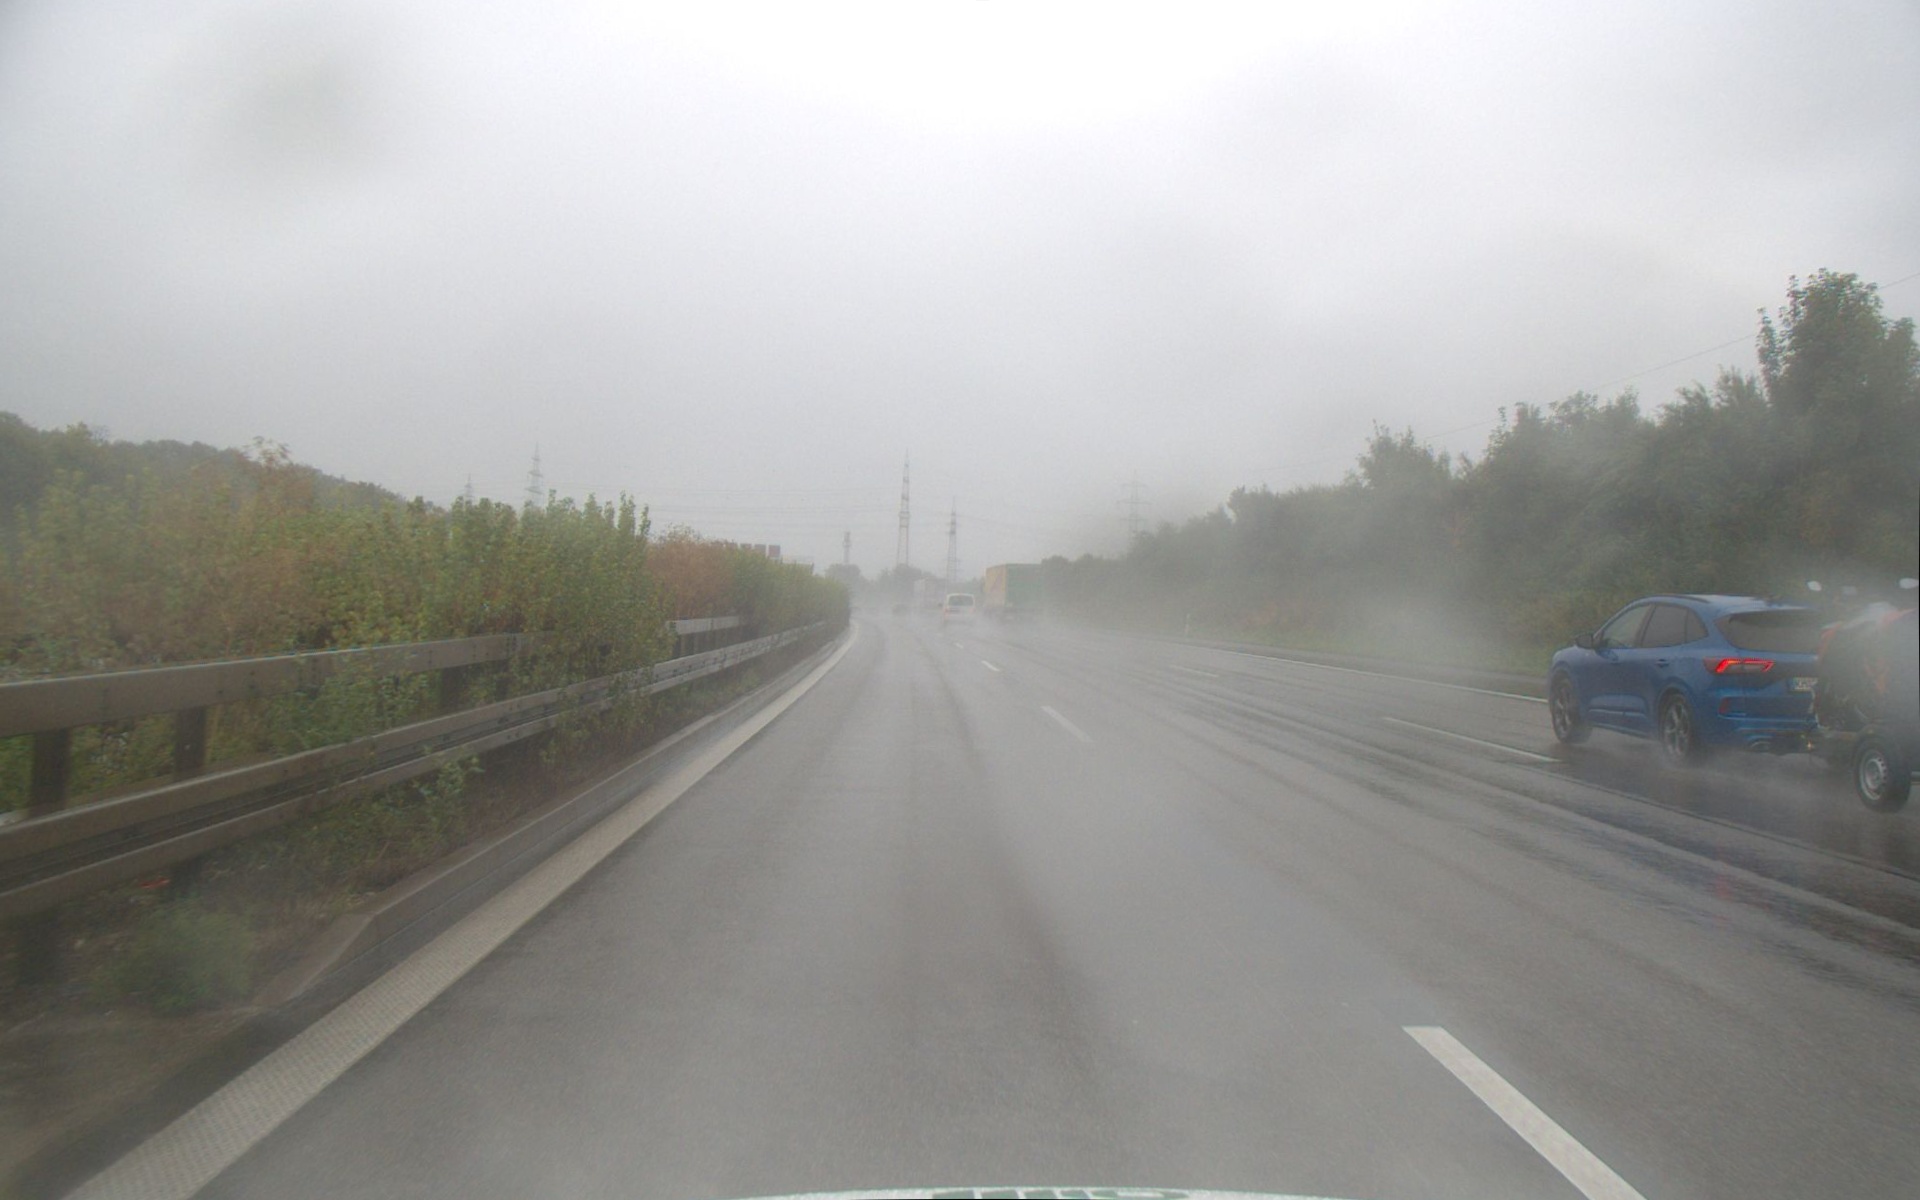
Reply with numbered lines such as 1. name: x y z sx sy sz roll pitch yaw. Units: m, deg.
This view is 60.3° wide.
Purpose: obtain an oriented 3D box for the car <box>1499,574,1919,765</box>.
1. car: 7.381 0.630 16.866 1.953 1.647 4.989 0 -1 -3

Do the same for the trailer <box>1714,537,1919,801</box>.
1. trailer: 7.530 0.493 12.738 1.939 1.816 3.187 0 -1 -2

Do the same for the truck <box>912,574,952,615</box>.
1. truck: -3.160 -0.635 182.347 3.173 4.387 8.818 1 0 -9

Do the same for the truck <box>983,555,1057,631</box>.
1. truck: 3.855 -0.373 111.817 4.104 4.711 16.101 1 -1 -1

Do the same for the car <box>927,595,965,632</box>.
1. car: -0.832 0.758 94.851 1.954 2.049 3.997 1 0 -4
